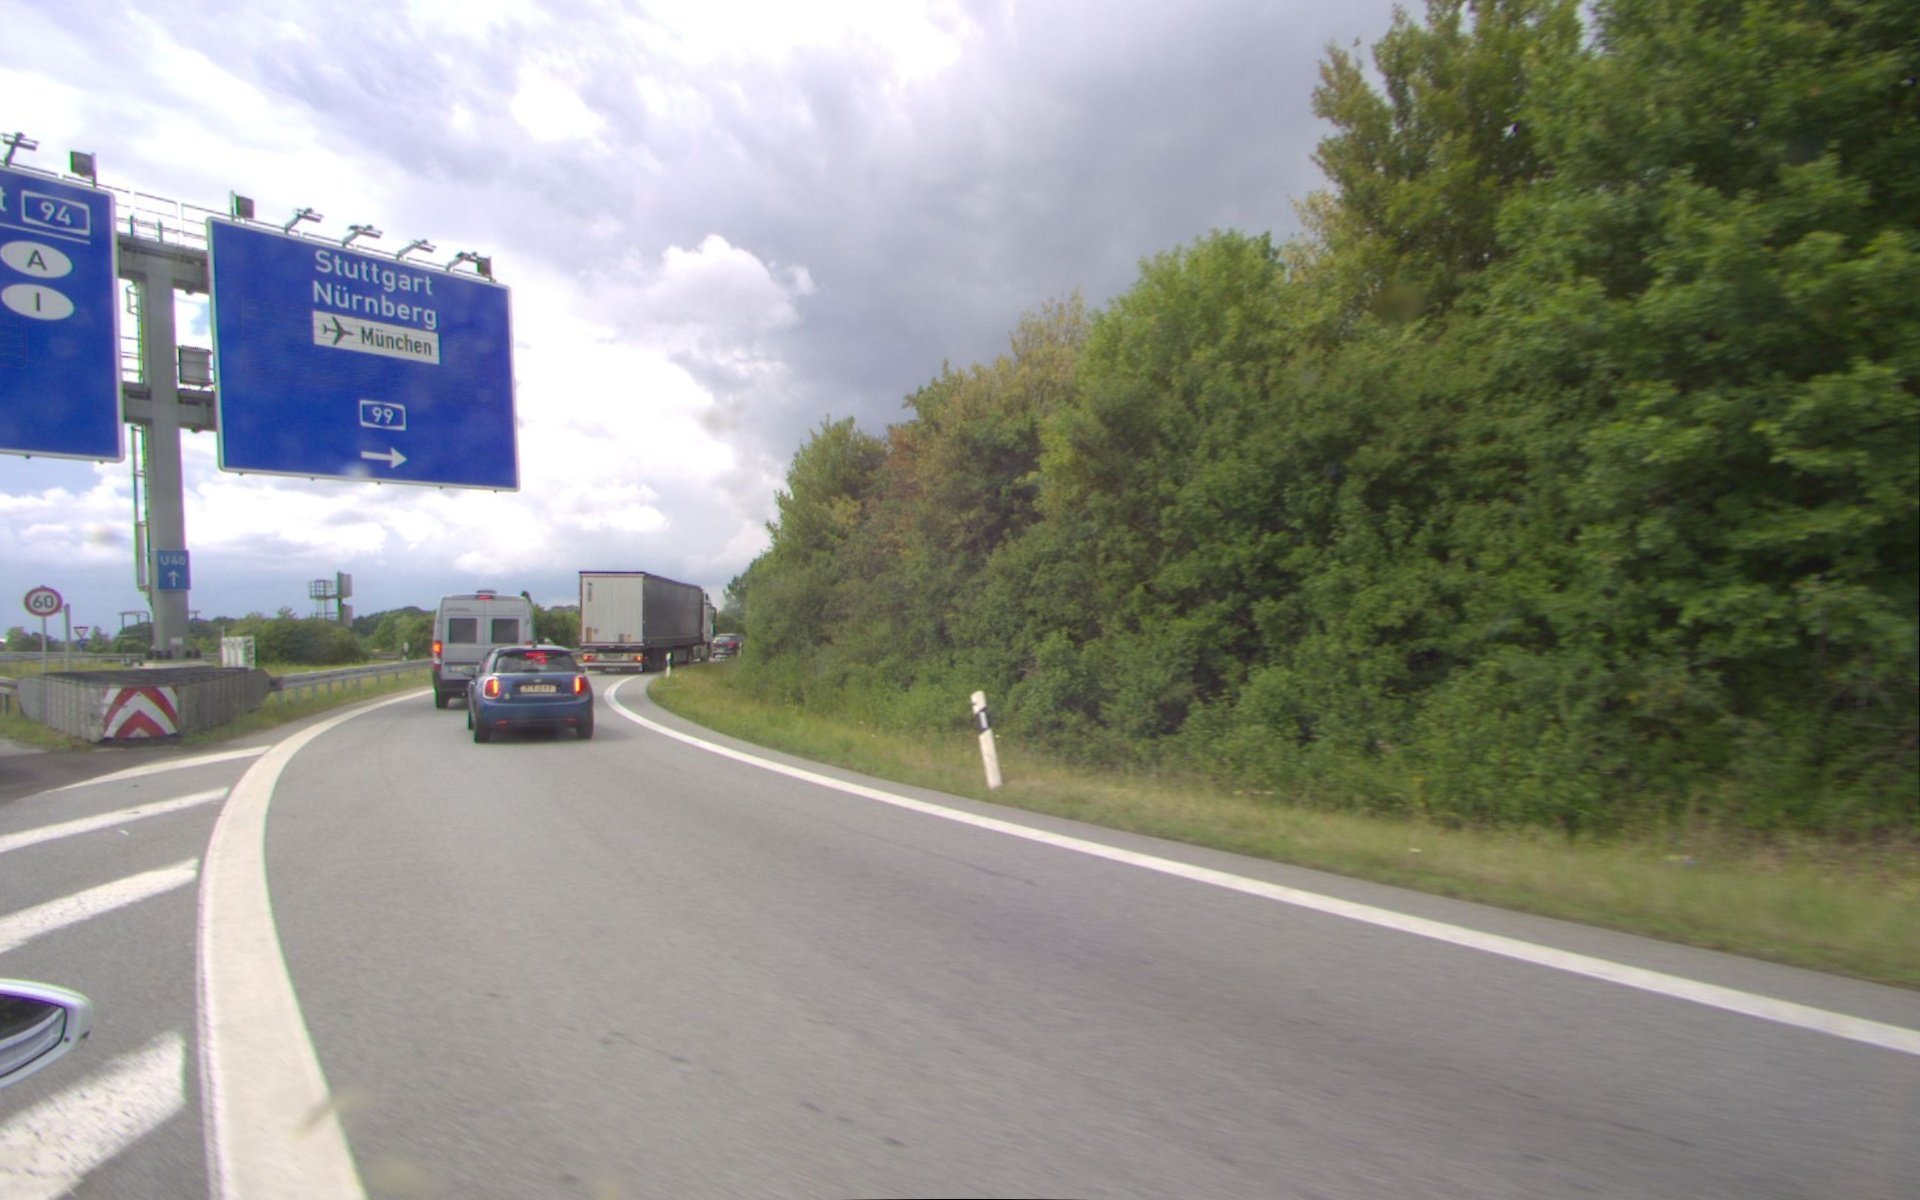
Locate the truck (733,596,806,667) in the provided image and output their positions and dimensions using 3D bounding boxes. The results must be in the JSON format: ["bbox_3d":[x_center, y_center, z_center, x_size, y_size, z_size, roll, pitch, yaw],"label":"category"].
[{"bbox_3d":[-13.369,2.184,71.187,3.219,4.675,8.993,0,-1,2],"label":"truck"}]

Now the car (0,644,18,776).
[{"bbox_3d":[-12.219,1.193,11.253,4.086,1.395,1.776,-2,-2,38],"label":"car"}]

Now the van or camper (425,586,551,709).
[{"bbox_3d":[-11.358,1.088,24.541,2.262,2.601,6.146,0,-1,-20],"label":"van or camper"}]

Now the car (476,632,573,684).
[{"bbox_3d":[-14.137,1.831,32.805,2.173,1.520,4.782,-1,-2,-14],"label":"car"}]

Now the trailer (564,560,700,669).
[{"bbox_3d":[-14.569,0.777,45.858,3.277,4.246,13.034,0,-2,-6],"label":"trailer"}]

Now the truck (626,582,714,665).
[{"bbox_3d":[-15.392,1.266,53.706,3.305,4.147,6.790,0,-2,-6],"label":"truck"}]

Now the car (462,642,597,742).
[{"bbox_3d":[-7.152,1.413,16.453,1.709,1.437,3.650,1,-2,-29],"label":"car"}]
